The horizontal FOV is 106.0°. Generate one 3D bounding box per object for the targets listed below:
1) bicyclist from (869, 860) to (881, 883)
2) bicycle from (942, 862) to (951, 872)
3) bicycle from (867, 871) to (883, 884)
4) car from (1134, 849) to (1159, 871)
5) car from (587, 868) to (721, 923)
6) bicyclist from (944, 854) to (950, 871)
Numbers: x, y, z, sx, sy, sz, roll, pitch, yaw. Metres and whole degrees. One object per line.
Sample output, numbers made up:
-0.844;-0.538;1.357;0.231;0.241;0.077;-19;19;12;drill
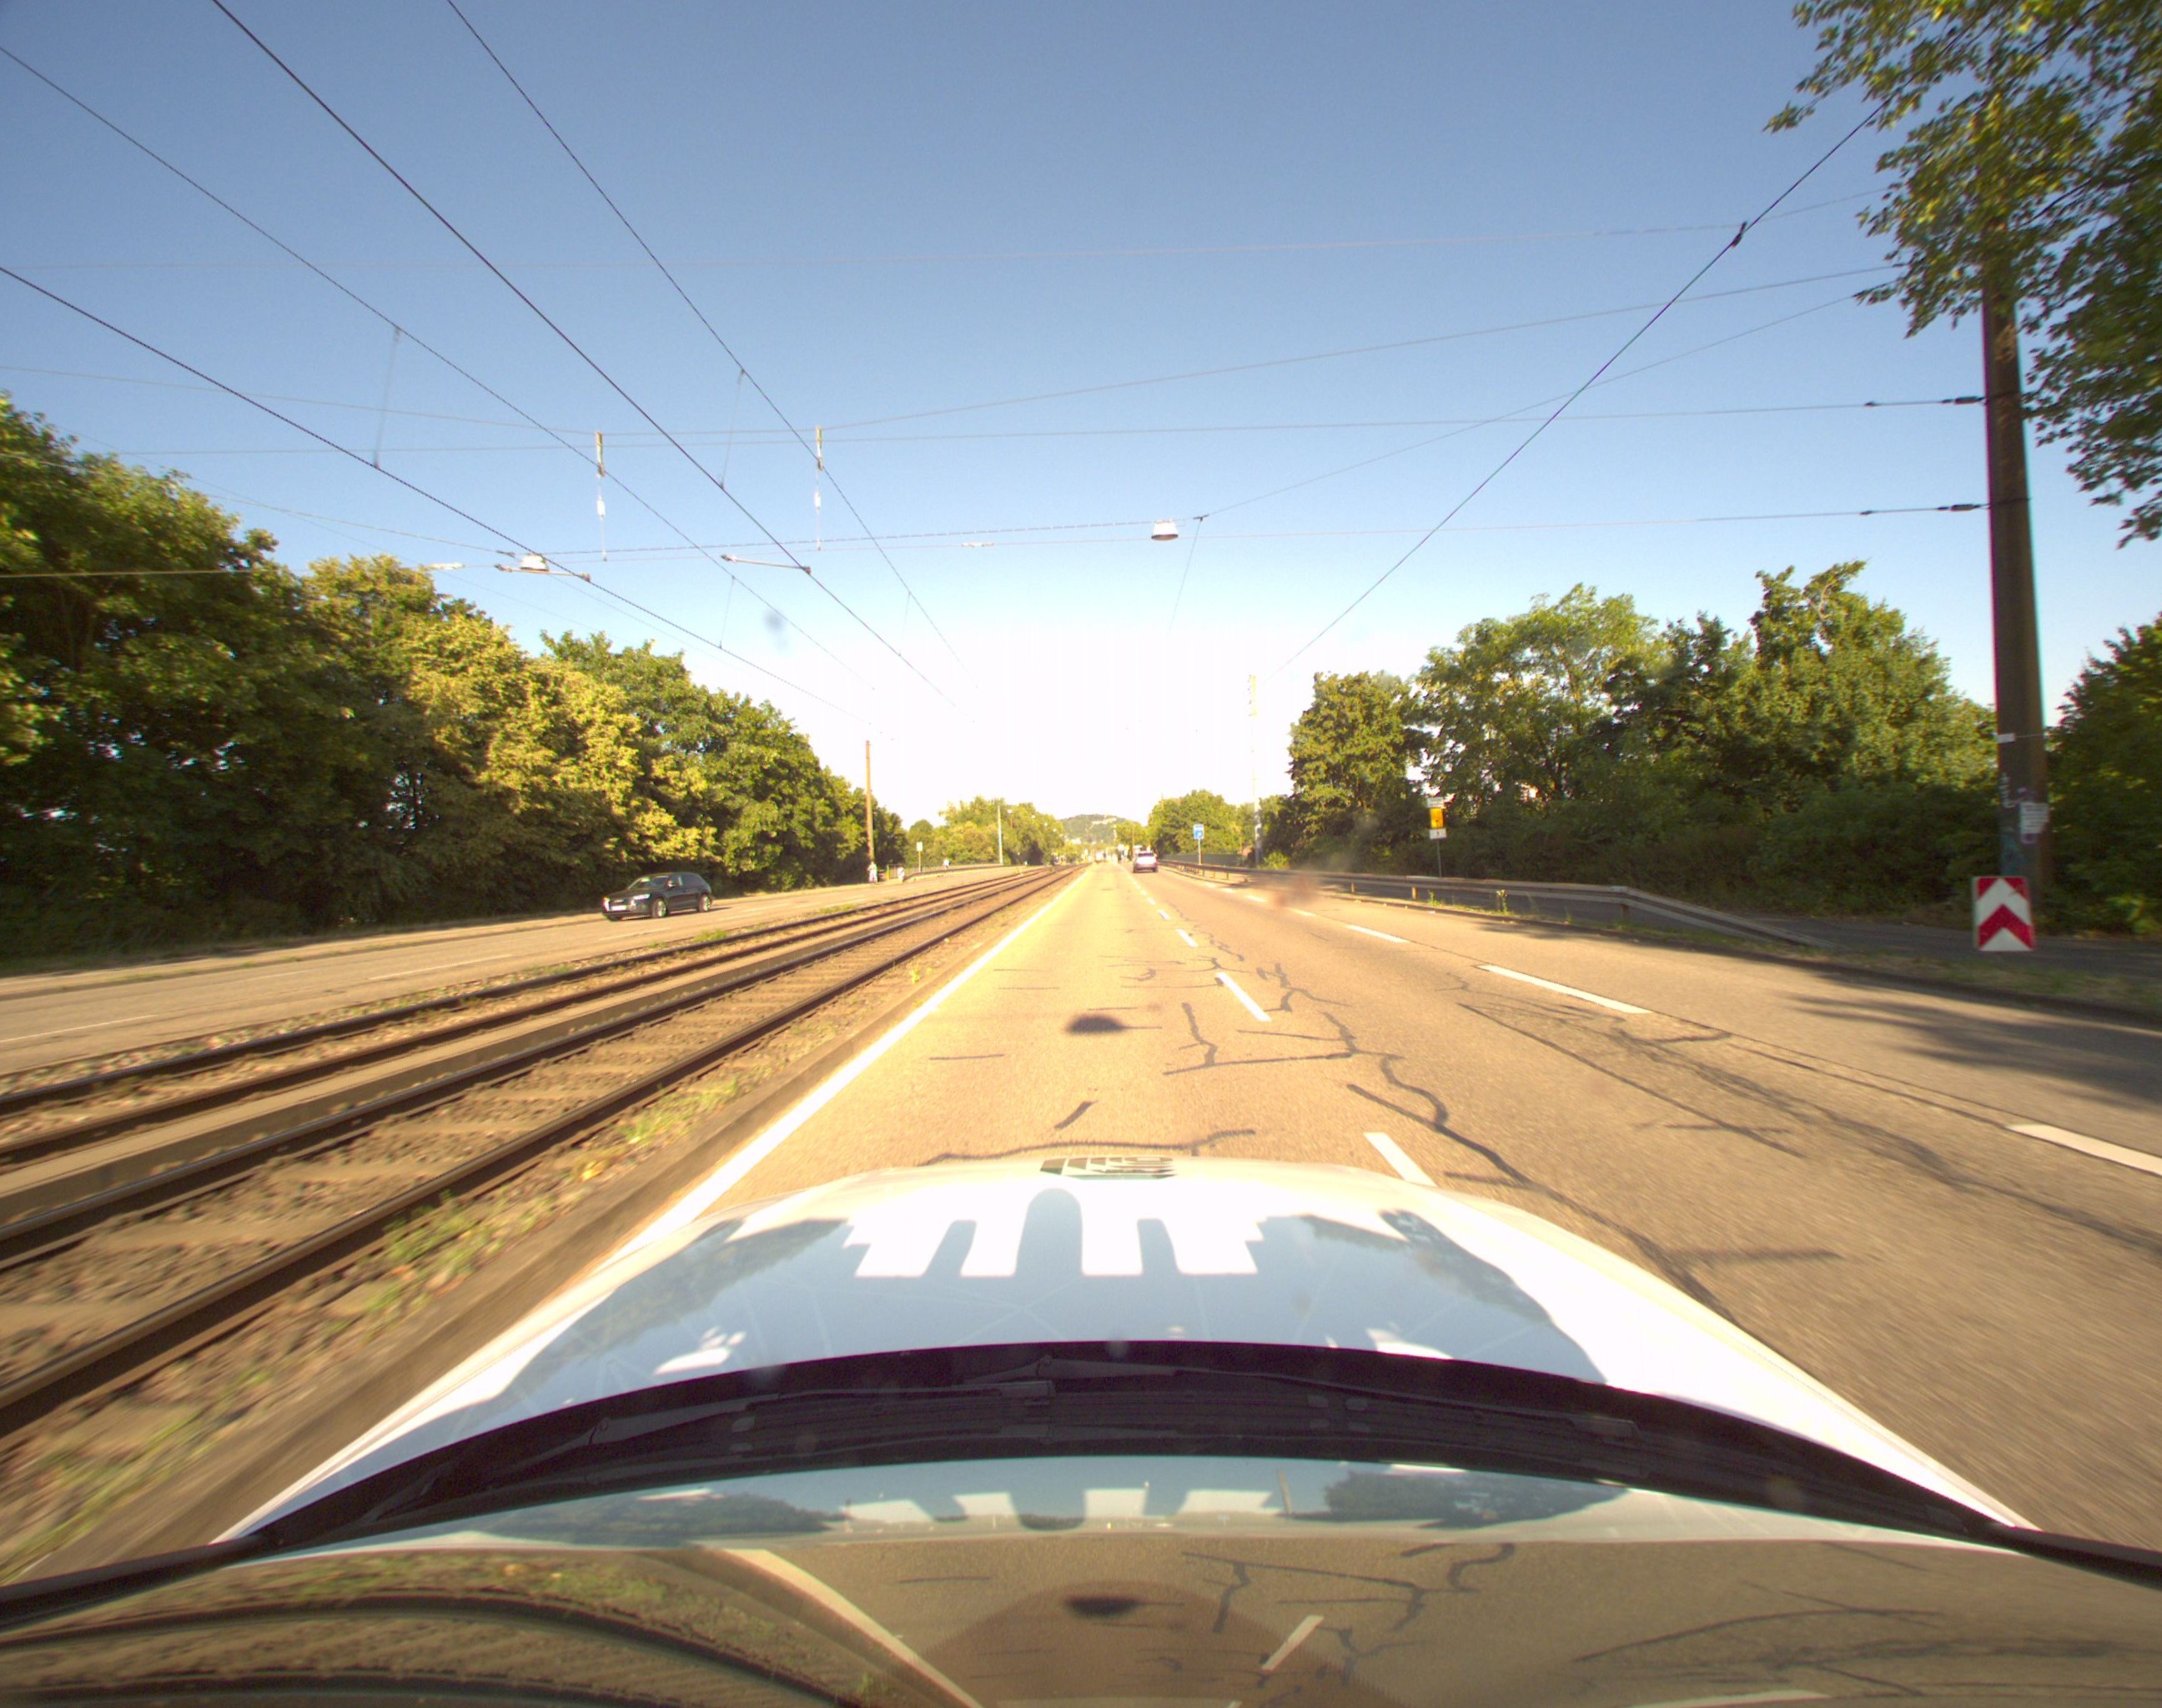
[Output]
-15.144;1.290;59.877;0.505;1.687;0.920;0;0;5;bicyclist
-14.609;1.379;88.458;0.538;1.043;1.926;0;0;2;bicycle
-15.143;1.750;59.885;0.505;0.892;2.030;0;0;5;bicycle
5.248;0.469;64.950;1.880;1.693;4.261;-2;0;4;car
-15.551;1.458;30.027;1.984;1.685;4.802;-4;-1;5;car
-14.609;0.957;88.665;0.538;1.862;0.876;0;0;2;bicyclist
